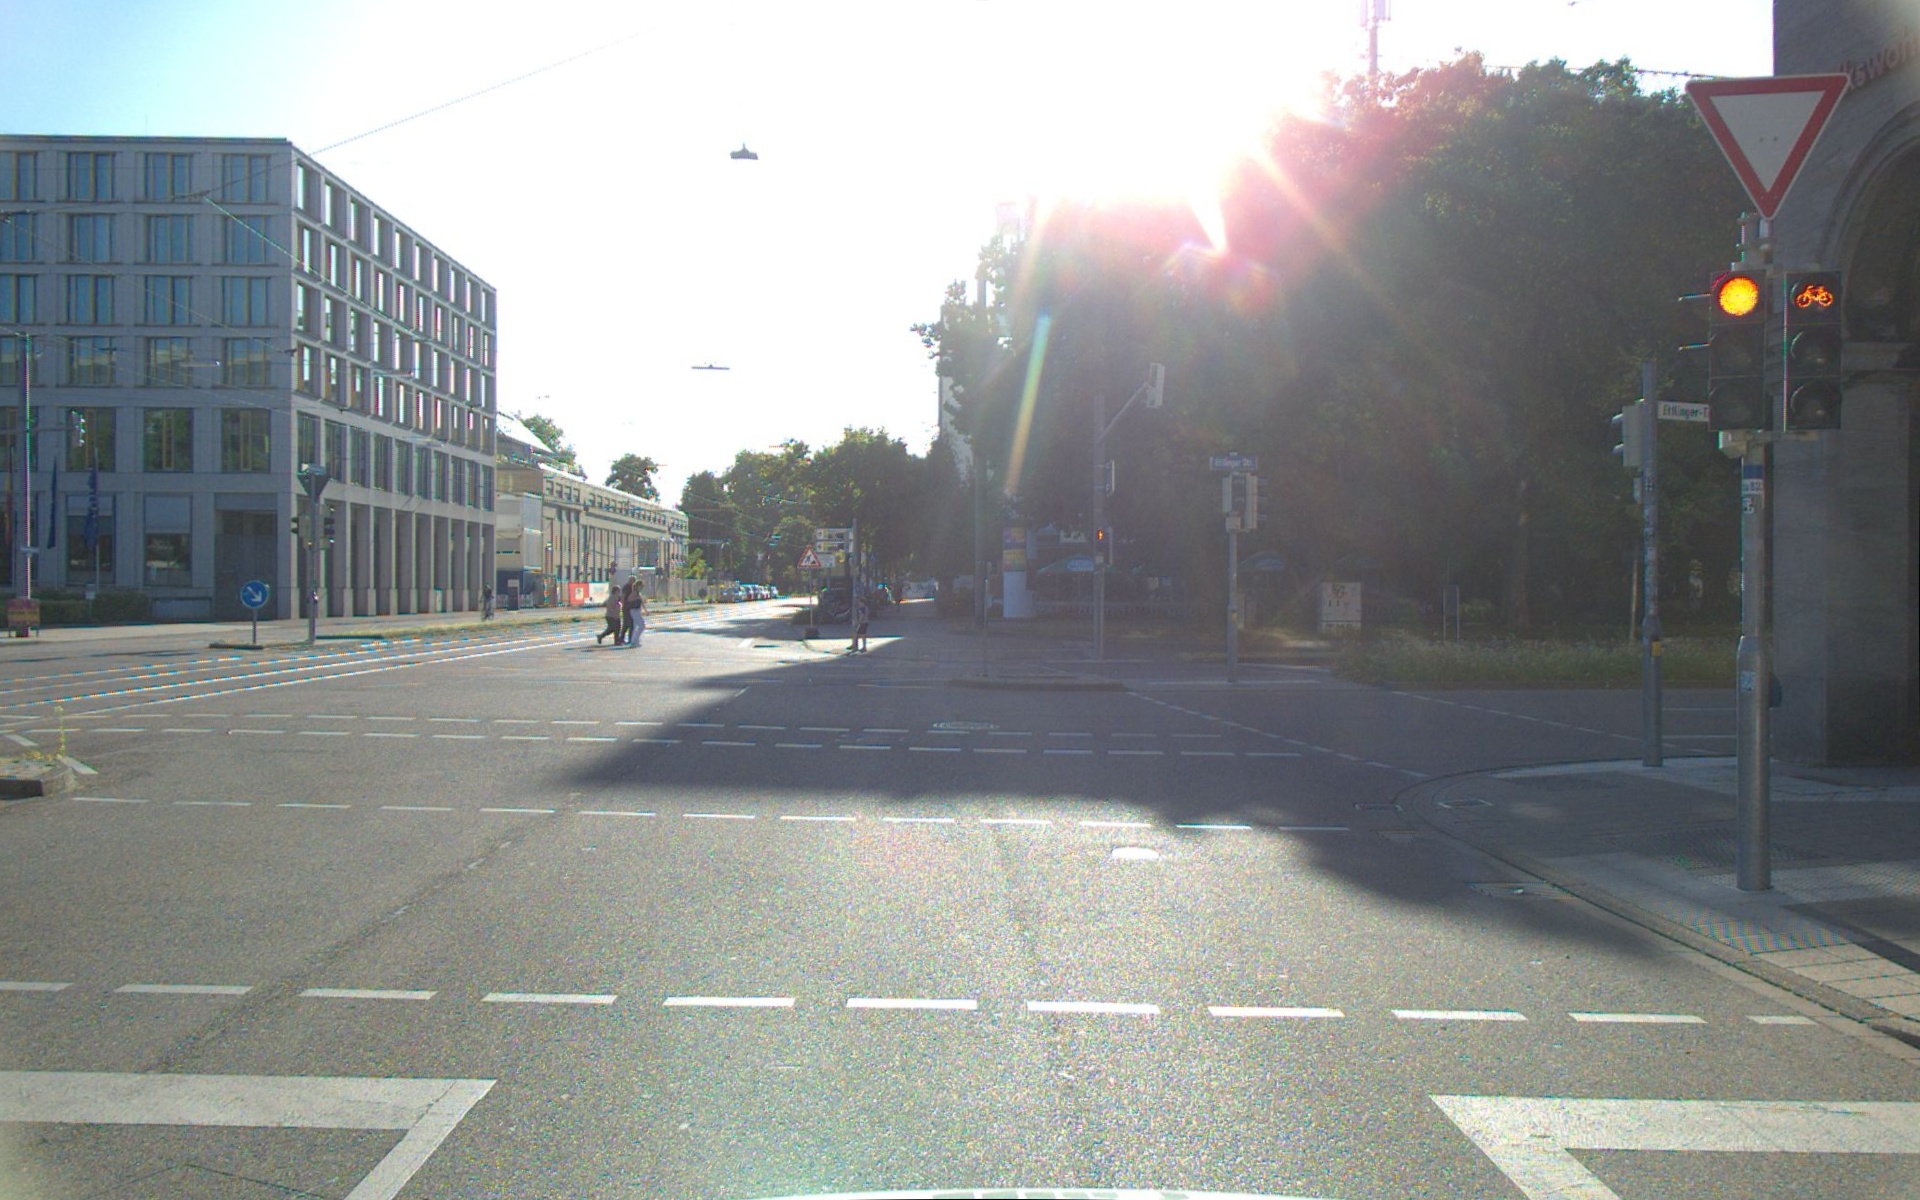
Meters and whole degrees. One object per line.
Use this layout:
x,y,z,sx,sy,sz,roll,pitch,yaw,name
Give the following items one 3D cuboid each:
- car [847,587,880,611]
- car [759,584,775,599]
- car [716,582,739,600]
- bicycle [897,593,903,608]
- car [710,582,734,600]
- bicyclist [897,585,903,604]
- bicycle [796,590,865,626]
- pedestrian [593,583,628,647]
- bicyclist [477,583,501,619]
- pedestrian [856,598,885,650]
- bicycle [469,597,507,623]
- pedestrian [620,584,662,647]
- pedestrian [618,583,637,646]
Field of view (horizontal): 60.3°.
-5.316,-0.060,91.747,1.783,1.301,3.998,0,0,-3,car
-22.652,-0.982,193.777,1.453,1.780,3.999,0,0,-1,car
-22.480,-0.860,159.817,1.695,1.682,3.999,0,0,-1,car
-3.629,0.029,99.613,0.317,0.883,1.483,0,0,-1,bicycle
-22.384,-0.854,155.712,1.695,1.682,3.999,0,0,-1,car
-3.615,-0.341,99.520,0.312,1.147,0.291,0,0,-1,bicyclist
-5.231,0.333,67.051,2.688,1.391,0.631,1,-1,10,bicycle
-9.183,0.382,43.420,0.779,1.668,0.533,0,0,2,pedestrian
-22.063,0.046,77.442,0.857,1.670,0.822,0,0,0,bicyclist
-2.391,0.632,44.244,0.737,1.356,0.742,0,0,0,pedestrian
-22.074,0.456,77.387,0.857,1.140,3.013,0,0,0,bicycle
-8.271,0.392,42.899,0.964,1.615,0.660,0,-1,1,pedestrian
-9.015,0.396,44.805,0.432,1.692,0.376,0,0,-2,pedestrian
